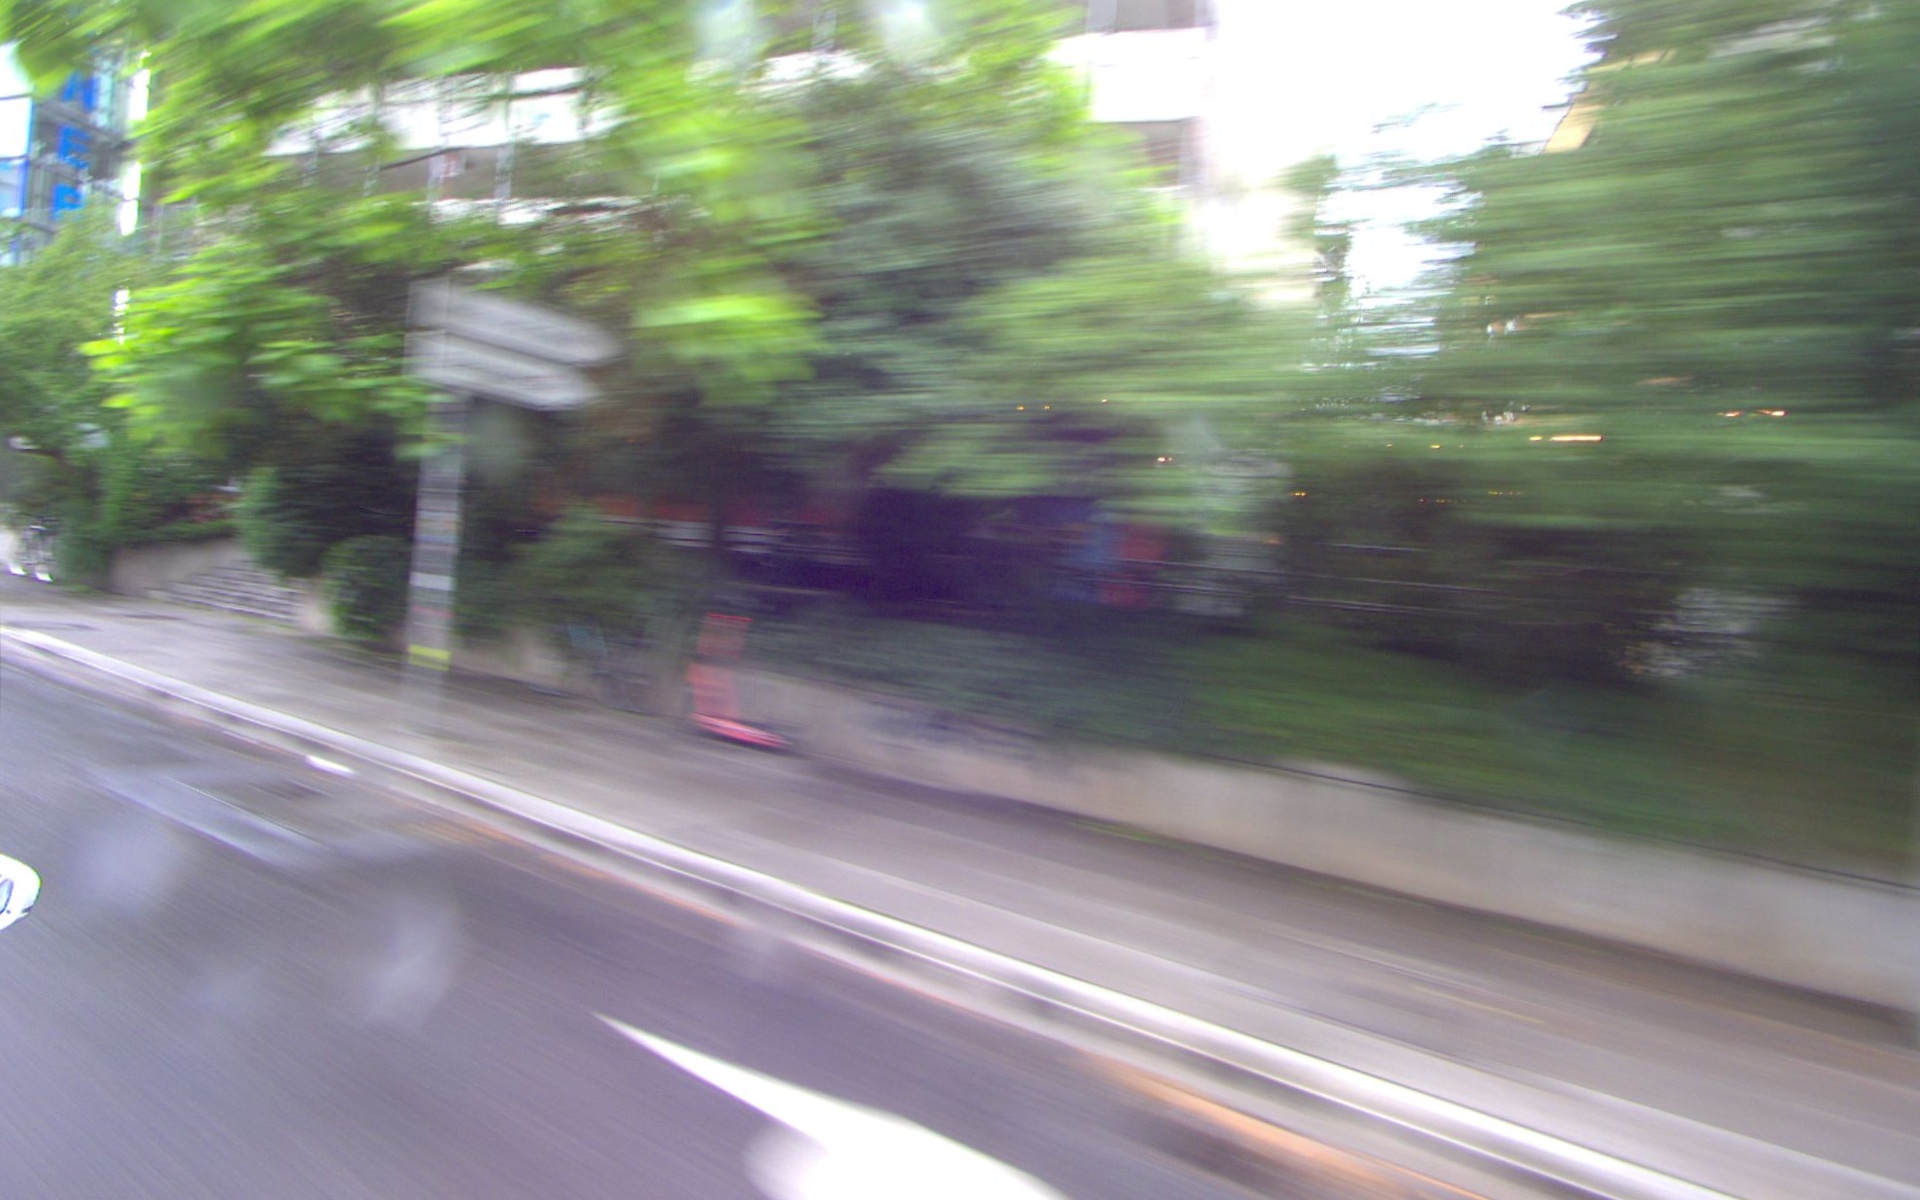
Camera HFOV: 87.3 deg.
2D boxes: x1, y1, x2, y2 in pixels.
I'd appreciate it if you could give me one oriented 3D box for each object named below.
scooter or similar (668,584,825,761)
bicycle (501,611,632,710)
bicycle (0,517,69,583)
[{"bbox_3d":[-1.788,0.571,8.374,1.191,1.276,0.447,7,3,31],"label":"scooter or similar"},{"bbox_3d":[-3.757,0.559,9.589,1.191,0.764,0.500,7,3,31],"label":"bicycle"},{"bbox_3d":[-14.906,-0.814,16.098,1.662,0.896,0.470,7,1,32],"label":"bicycle"}]
